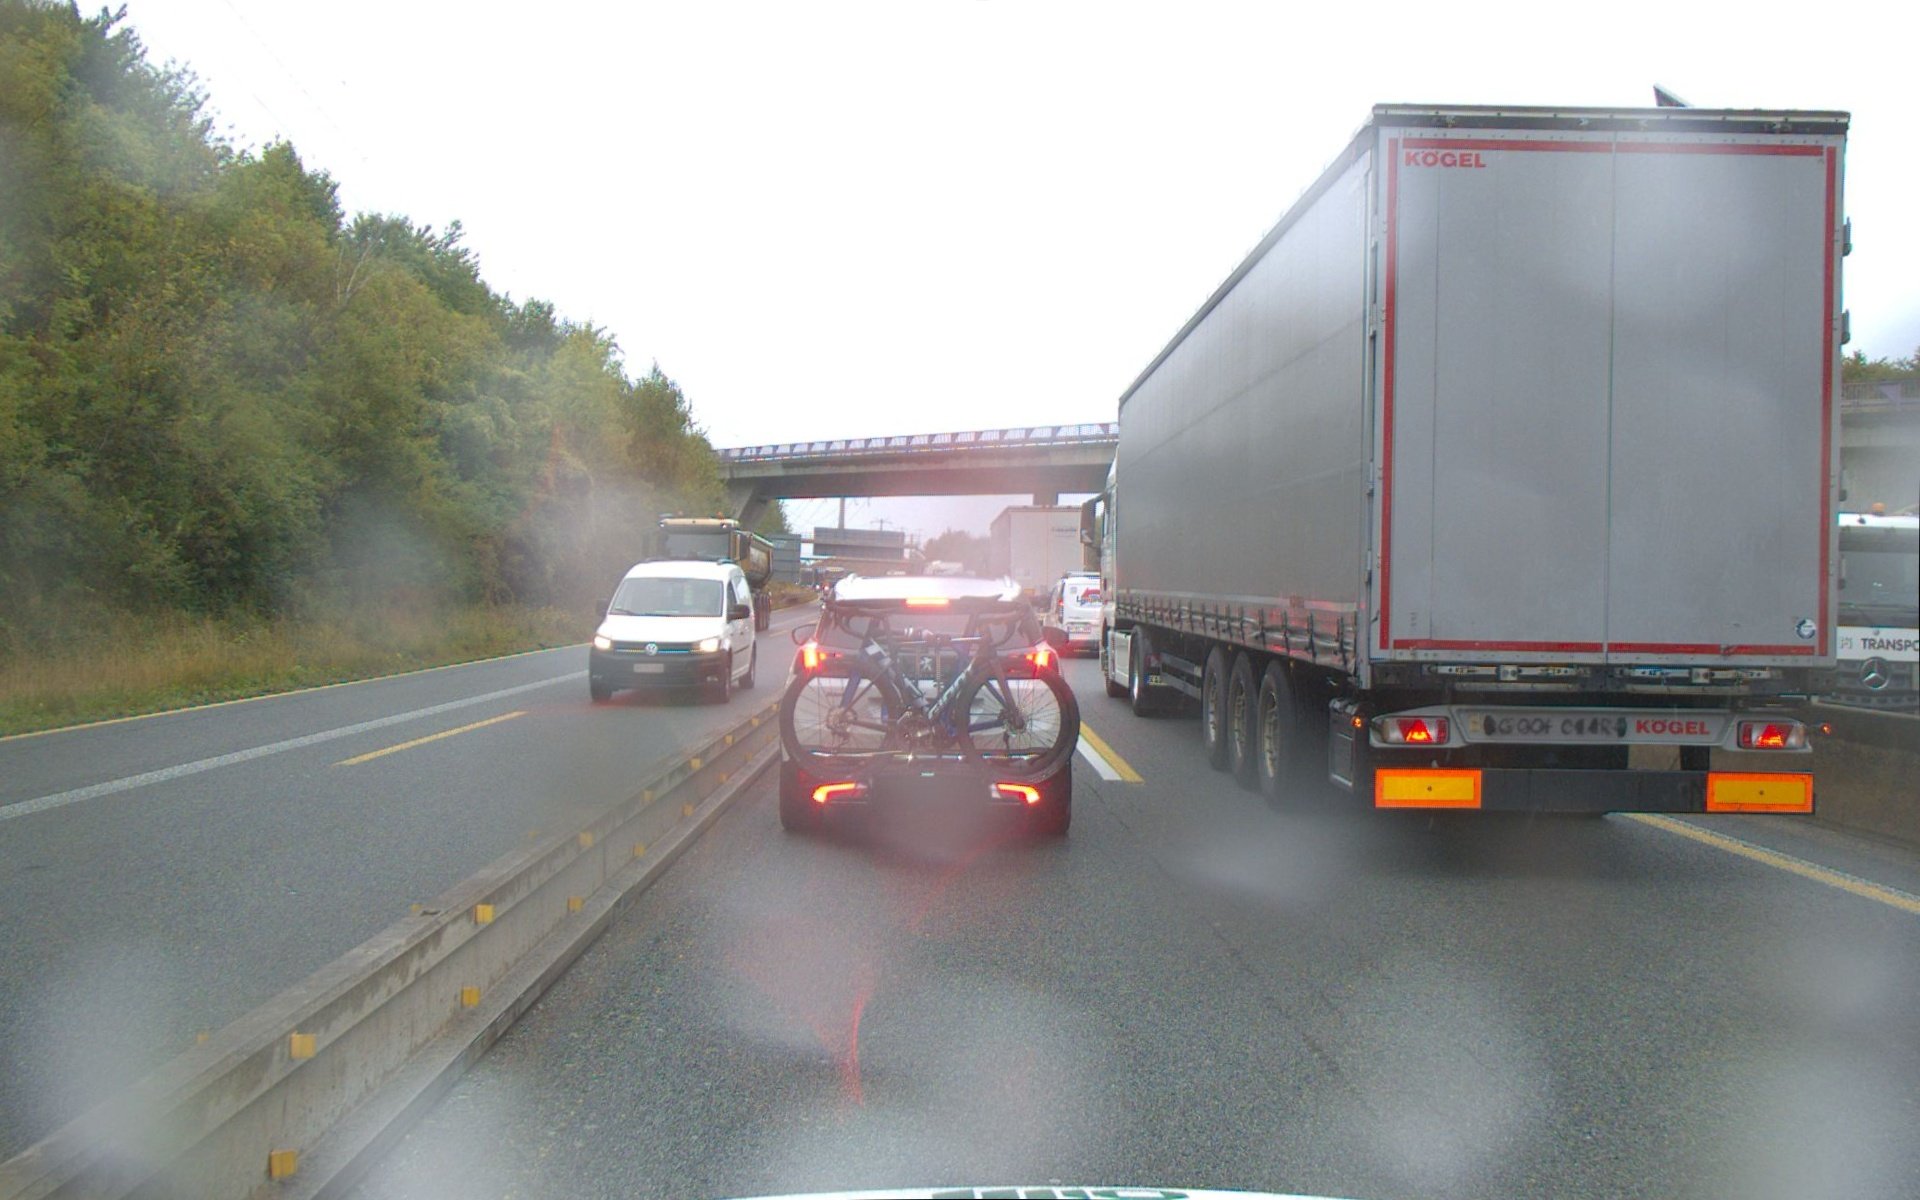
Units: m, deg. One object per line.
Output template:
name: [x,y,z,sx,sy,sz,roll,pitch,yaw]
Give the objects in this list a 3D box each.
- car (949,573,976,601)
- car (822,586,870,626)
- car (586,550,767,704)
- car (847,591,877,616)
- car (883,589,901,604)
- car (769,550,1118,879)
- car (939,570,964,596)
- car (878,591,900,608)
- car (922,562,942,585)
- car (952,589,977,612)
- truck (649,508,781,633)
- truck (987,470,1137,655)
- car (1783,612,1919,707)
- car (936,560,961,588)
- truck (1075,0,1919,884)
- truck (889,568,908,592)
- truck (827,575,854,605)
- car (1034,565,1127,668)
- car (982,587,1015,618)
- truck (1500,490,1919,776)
car: [0.179,-1.000,125.288,1.953,2.049,4.000,1,0,0]
car: [-4.299,0.227,62.789,1.652,1.434,3.929,1,0,-2]
car: [-3.728,0.327,22.483,1.773,1.856,4.634,1,0,-2]
car: [-6.423,0.247,108.270,1.773,1.586,3.989,1,0,-1]
car: [-6.358,-0.317,155.488,1.652,1.434,3.929,1,0,-2]
car: [-0.047,0.589,10.821,1.773,1.666,4.636,1,0,1]
car: [-0.687,-1.404,136.791,1.953,2.049,4.000,1,0,0]
car: [-6.261,-0.036,145.615,1.773,1.514,4.395,1,0,-1]
car: [-2.783,-2.650,164.522,1.953,2.164,4.526,1,0,0]
car: [0.287,0.028,111.888,1.605,1.524,3.666,1,0,0]
truck: [-7.406,-0.826,51.613,2.483,3.411,12.047,1,0,-1]
truck: [3.399,-1.177,62.391,4.645,5.772,20.377,1,0,1]
car: [21.428,1.364,39.385,1.693,2.094,4.125,1,0,2]
car: [-1.018,-2.326,149.457,2.193,2.347,4.571,1,0,0]
truck: [3.947,-1.574,17.880,3.898,5.772,20.374,1,0,0]
truck: [-9.070,-2.906,245.411,2.483,3.411,12.047,1,0,-1]
truck: [-15.305,-1.253,212.899,2.626,3.720,12.311,1,0,0]
car: [2.719,0.366,38.206,1.636,2.218,4.533,1,0,-2]
car: [1.970,0.126,85.082,1.605,1.524,3.666,1,0,0]
truck: [10.302,0.374,23.104,2.469,3.186,9.117,1,0,0]
